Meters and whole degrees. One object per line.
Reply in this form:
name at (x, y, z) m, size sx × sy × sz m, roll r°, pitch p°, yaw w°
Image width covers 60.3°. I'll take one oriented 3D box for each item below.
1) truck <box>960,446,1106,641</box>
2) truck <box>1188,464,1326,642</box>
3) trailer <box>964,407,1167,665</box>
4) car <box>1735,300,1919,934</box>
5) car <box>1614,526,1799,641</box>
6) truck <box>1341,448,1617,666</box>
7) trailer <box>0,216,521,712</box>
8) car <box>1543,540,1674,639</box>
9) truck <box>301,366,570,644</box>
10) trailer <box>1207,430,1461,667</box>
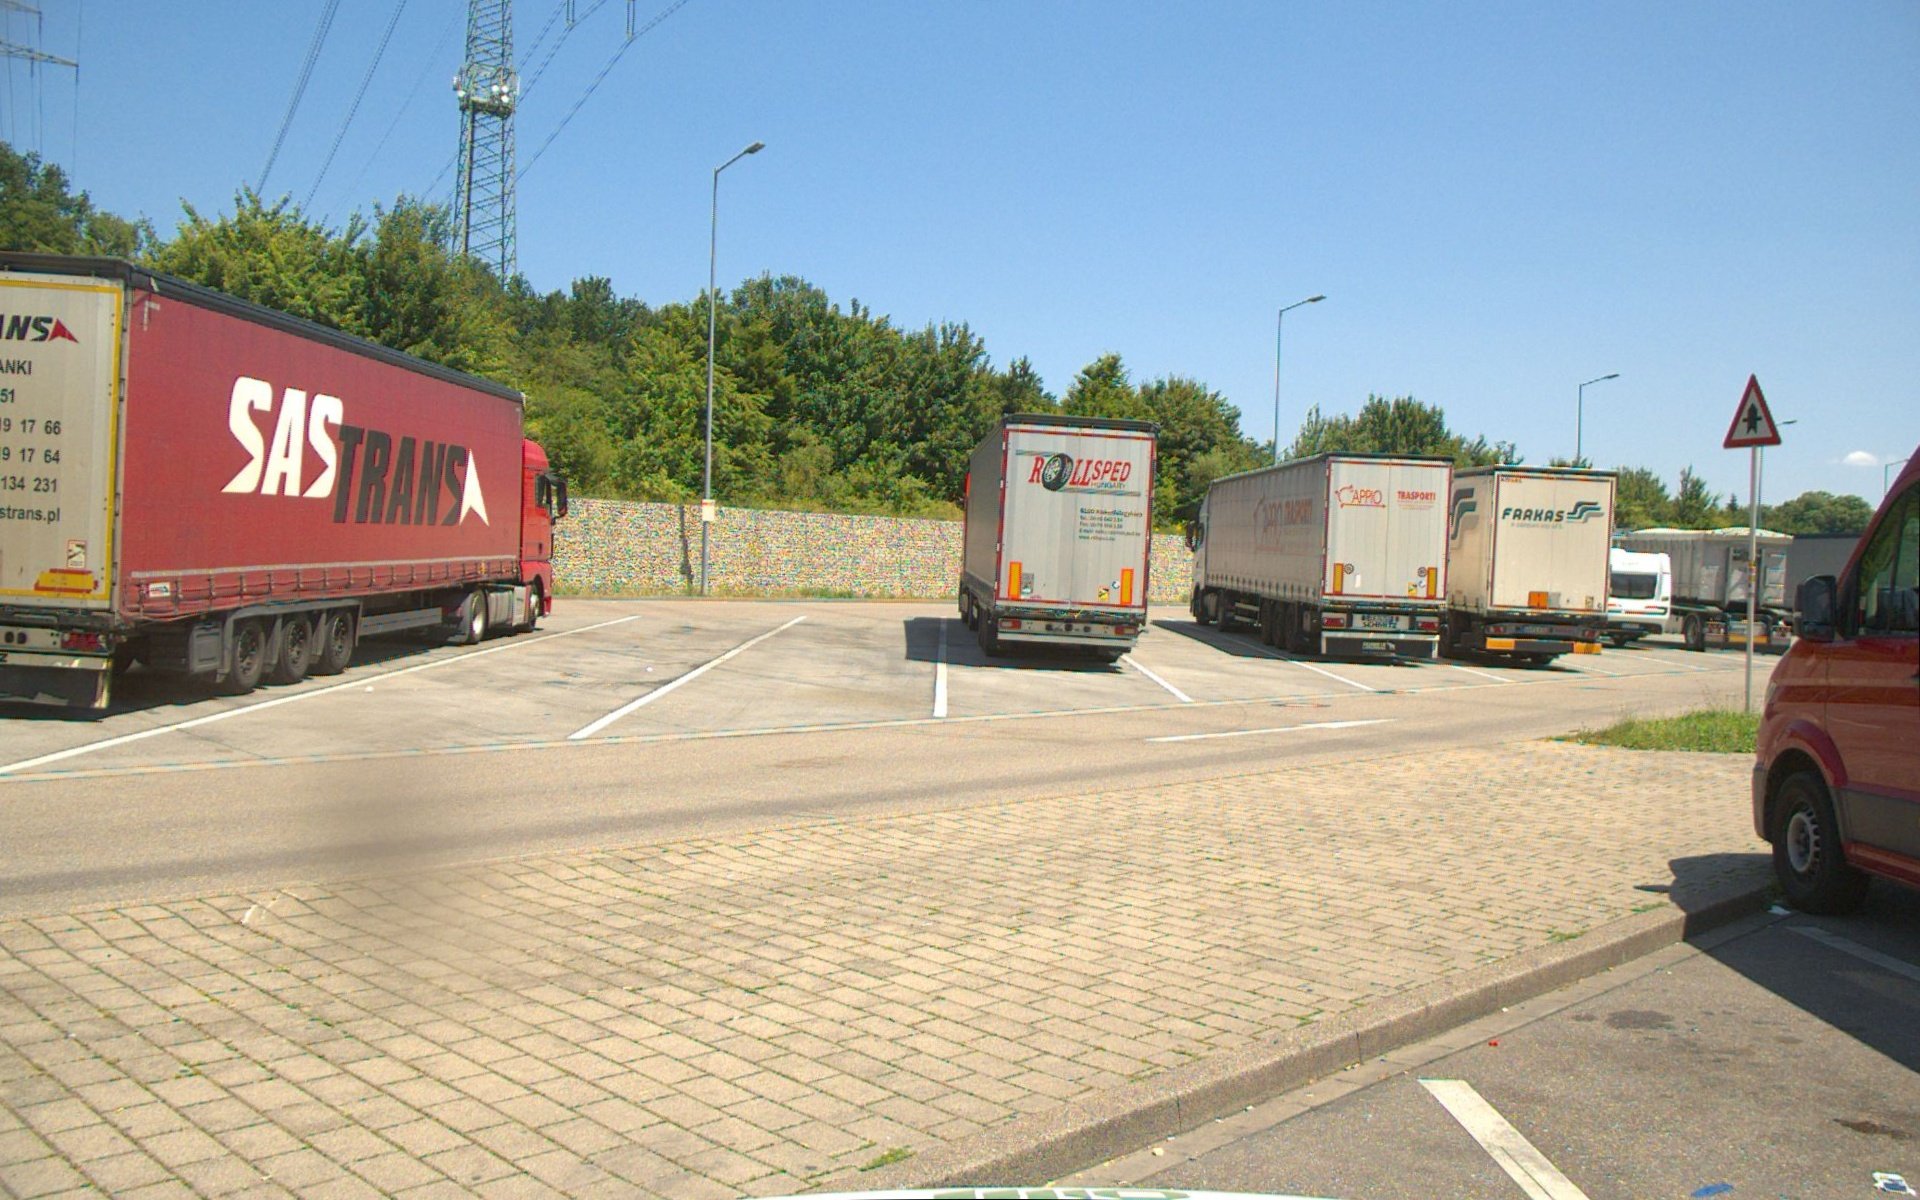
truck at (1.535, -1.242, 37.788) m, size 2.814 × 4.050 × 6.027 m, roll 1°, pitch 1°, yaw -2°
truck at (8.027, -1.253, 45.384) m, size 2.607 × 4.530 × 5.863 m, roll 1°, pitch 1°, yaw -1°
trailer at (1.697, -1.128, 32.094) m, size 2.839 × 4.083 × 11.314 m, roll 1°, pitch 1°, yaw -2°
car at (4.963, 0.104, 5.562) m, size 1.952 × 2.679 × 6.385 m, roll 1°, pitch 1°, yaw 3°
car at (21.706, -0.506, 48.498) m, size 2.448 × 3.128 × 6.350 m, roll 1°, pitch 1°, yaw -1°
truck at (11.721, -0.840, 38.955) m, size 2.534 × 4.299 × 11.967 m, roll 1°, pitch 0°, yaw -1°
trailer at (-8.632, -1.314, 20.986) m, size 2.743 × 4.293 × 13.200 m, roll 1°, pitch 1°, yaw -1°
car at (18.240, -0.277, 46.739) m, size 2.072 × 2.645 × 3.999 m, roll 1°, pitch 0°, yaw -1°
truck at (-8.719, -1.510, 28.241) m, size 2.749 × 4.205 × 5.893 m, roll 1°, pitch 1°, yaw -1°
trailer at (8.181, -1.102, 38.317) m, size 2.627 × 4.530 × 12.826 m, roll 1°, pitch 1°, yaw -1°
